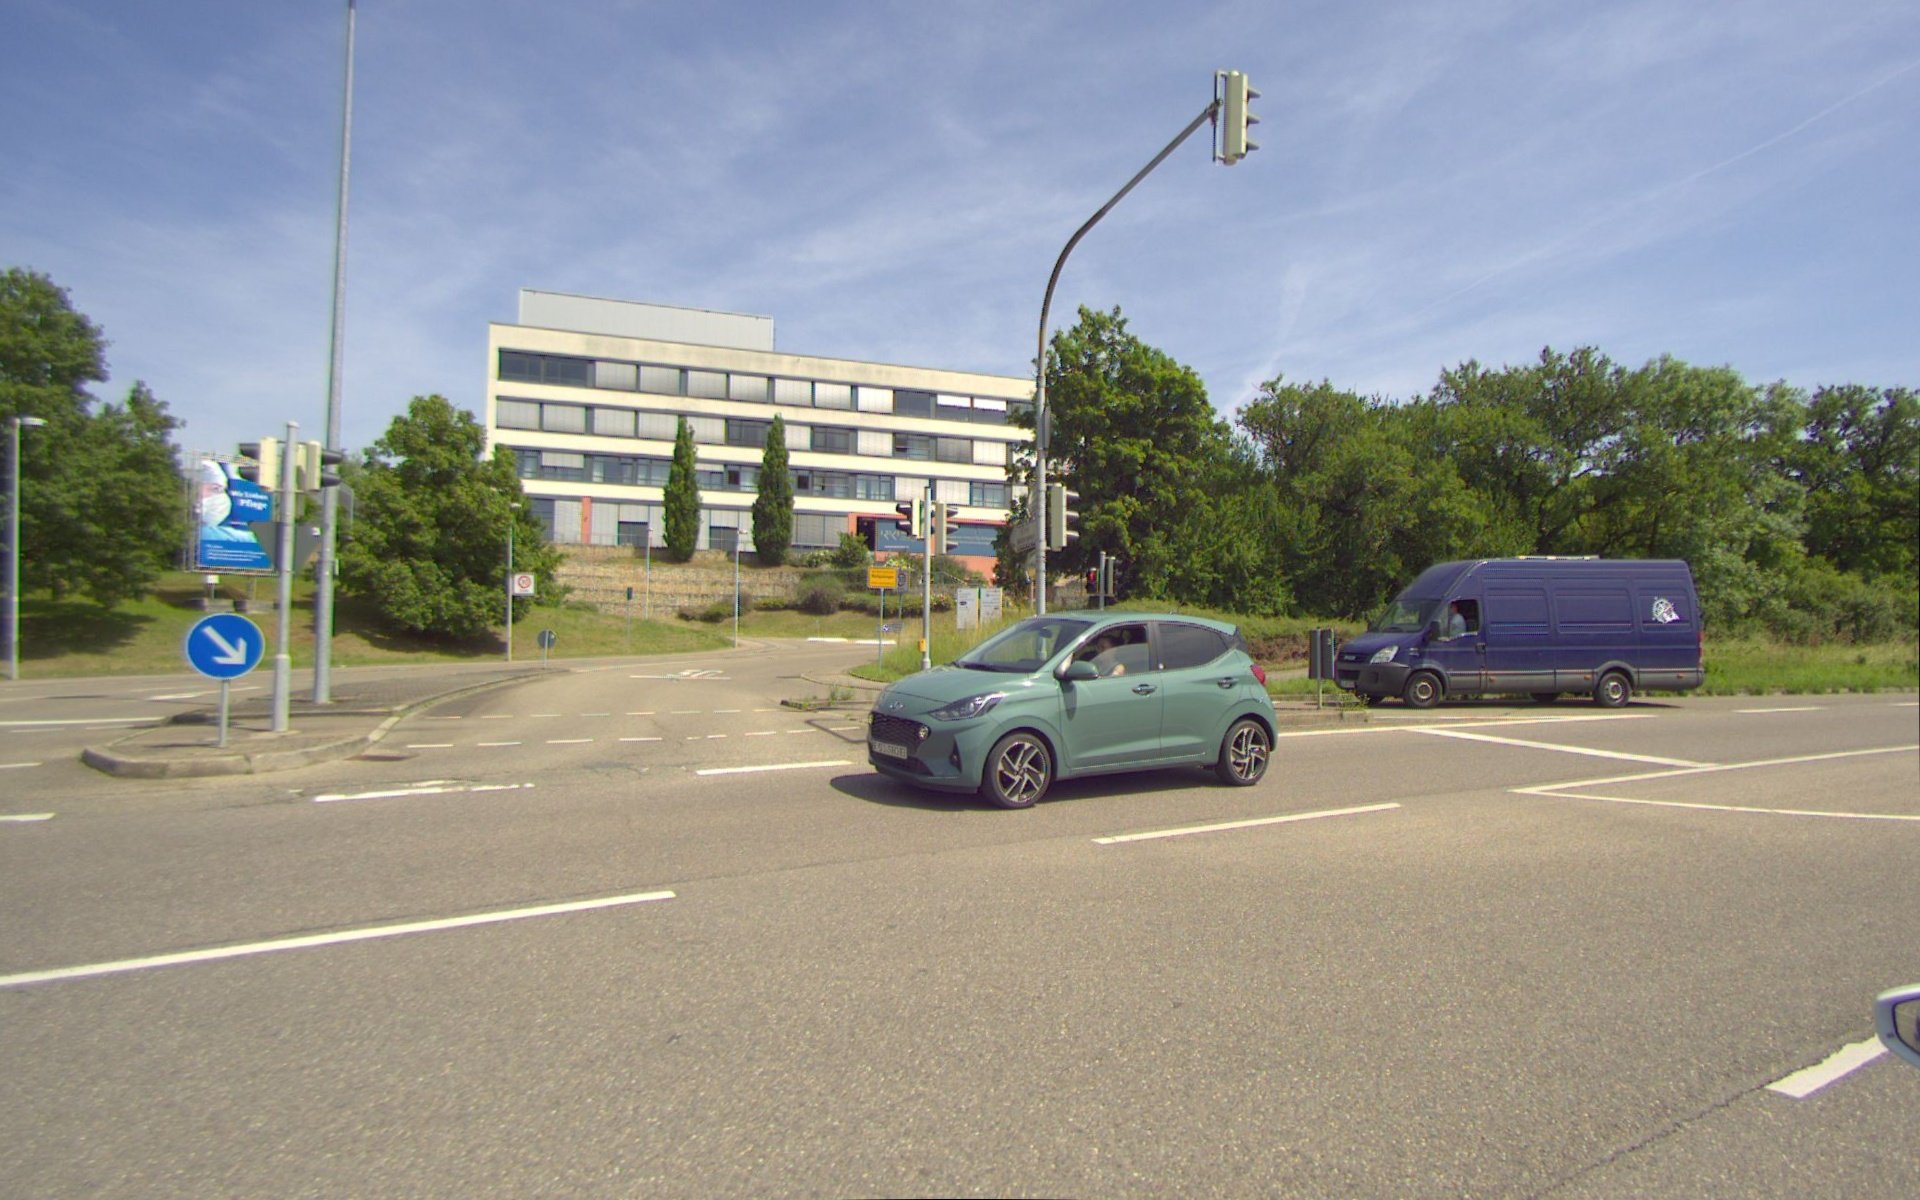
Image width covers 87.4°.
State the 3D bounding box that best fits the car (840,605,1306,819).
[{"bbox_3d":[1.044,0.848,8.781,3.787,1.502,1.698,2,-1,-30],"label":"car"}]

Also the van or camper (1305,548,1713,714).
[{"bbox_3d":[10.565,0.569,19.537,7.115,2.953,2.243,0,0,-9],"label":"van or camper"}]
